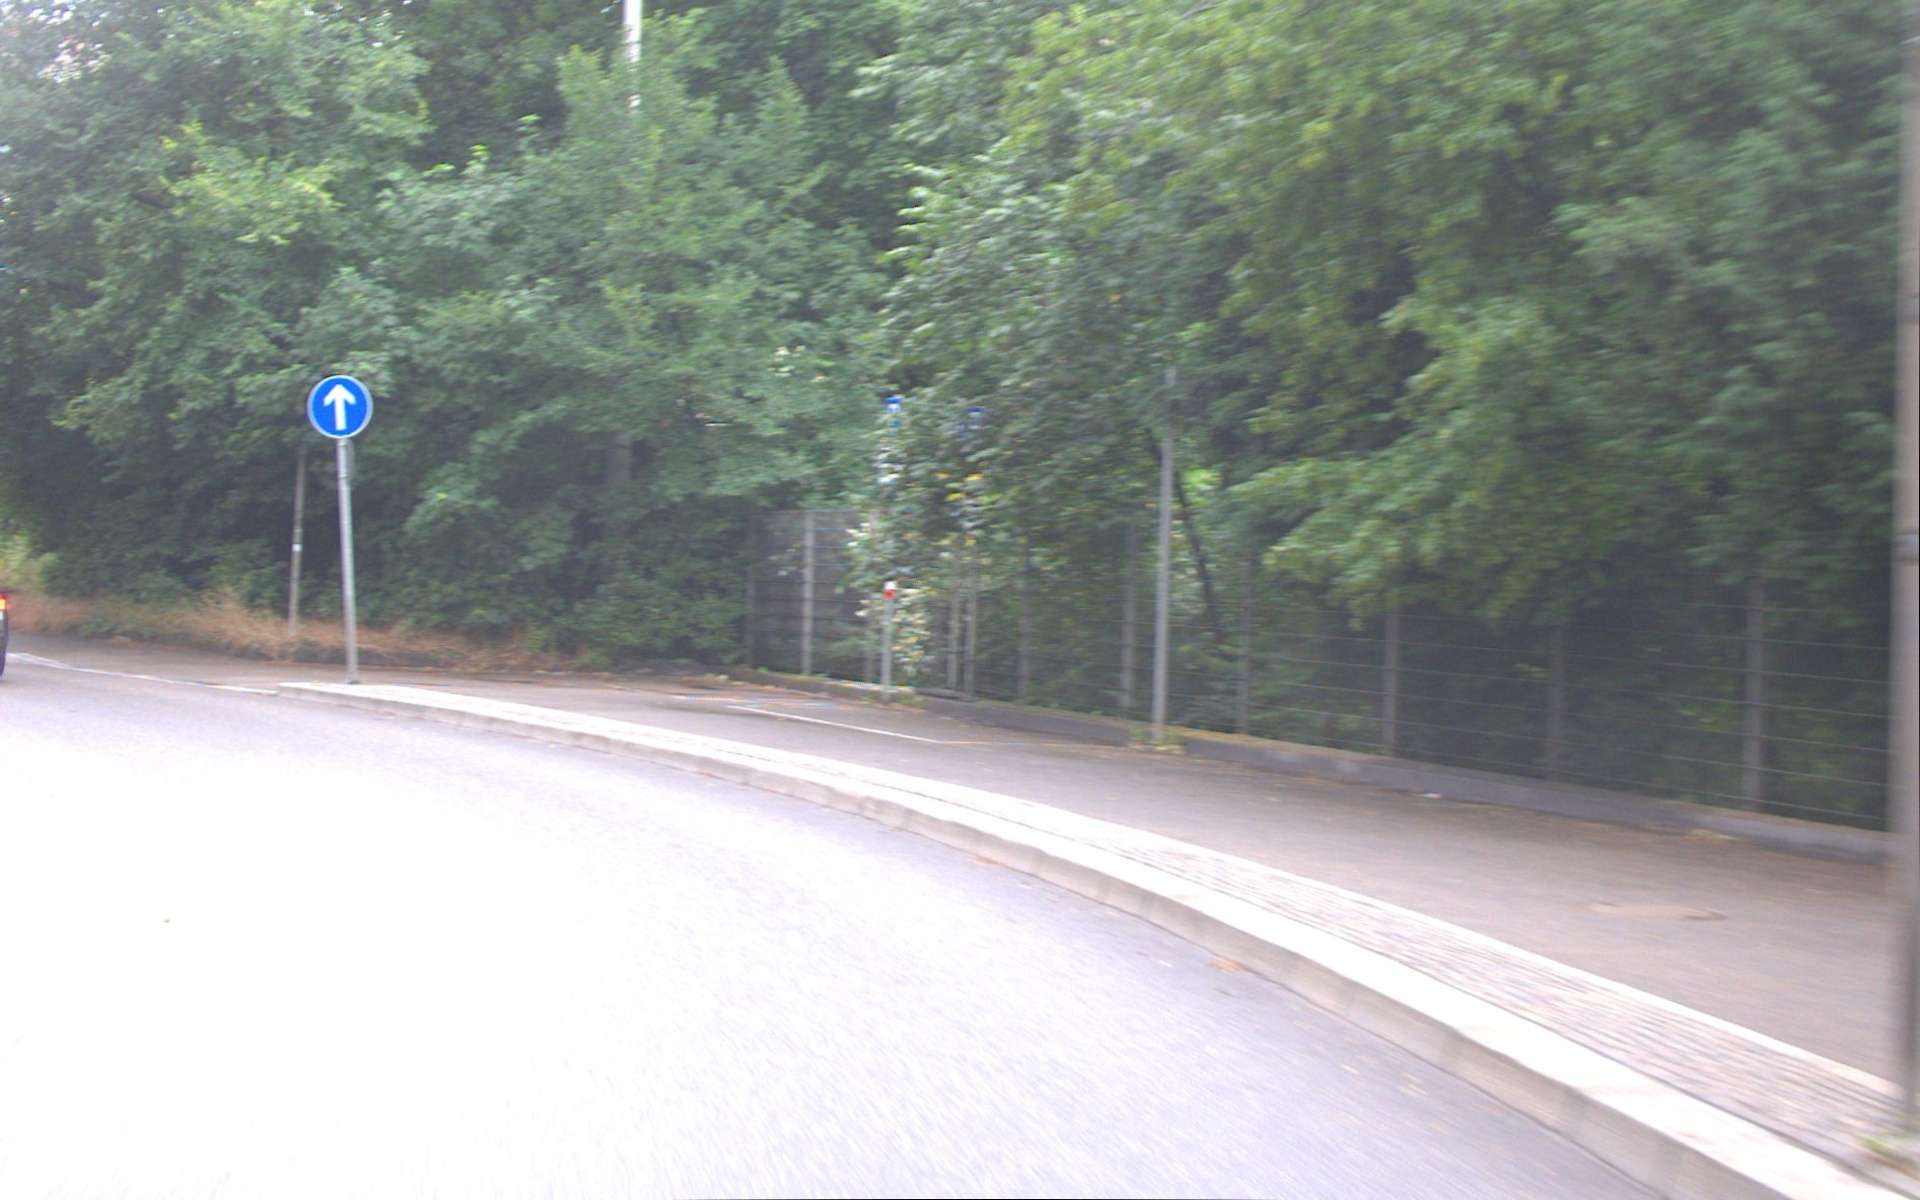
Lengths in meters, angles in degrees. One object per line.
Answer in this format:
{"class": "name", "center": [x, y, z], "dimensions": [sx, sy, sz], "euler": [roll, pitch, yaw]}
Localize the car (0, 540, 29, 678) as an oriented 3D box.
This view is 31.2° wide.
{"class": "car", "center": [-11.385, 0.055, 37.003], "dimensions": [1.958, 1.421, 4.126], "euler": [1, 1, -25]}
